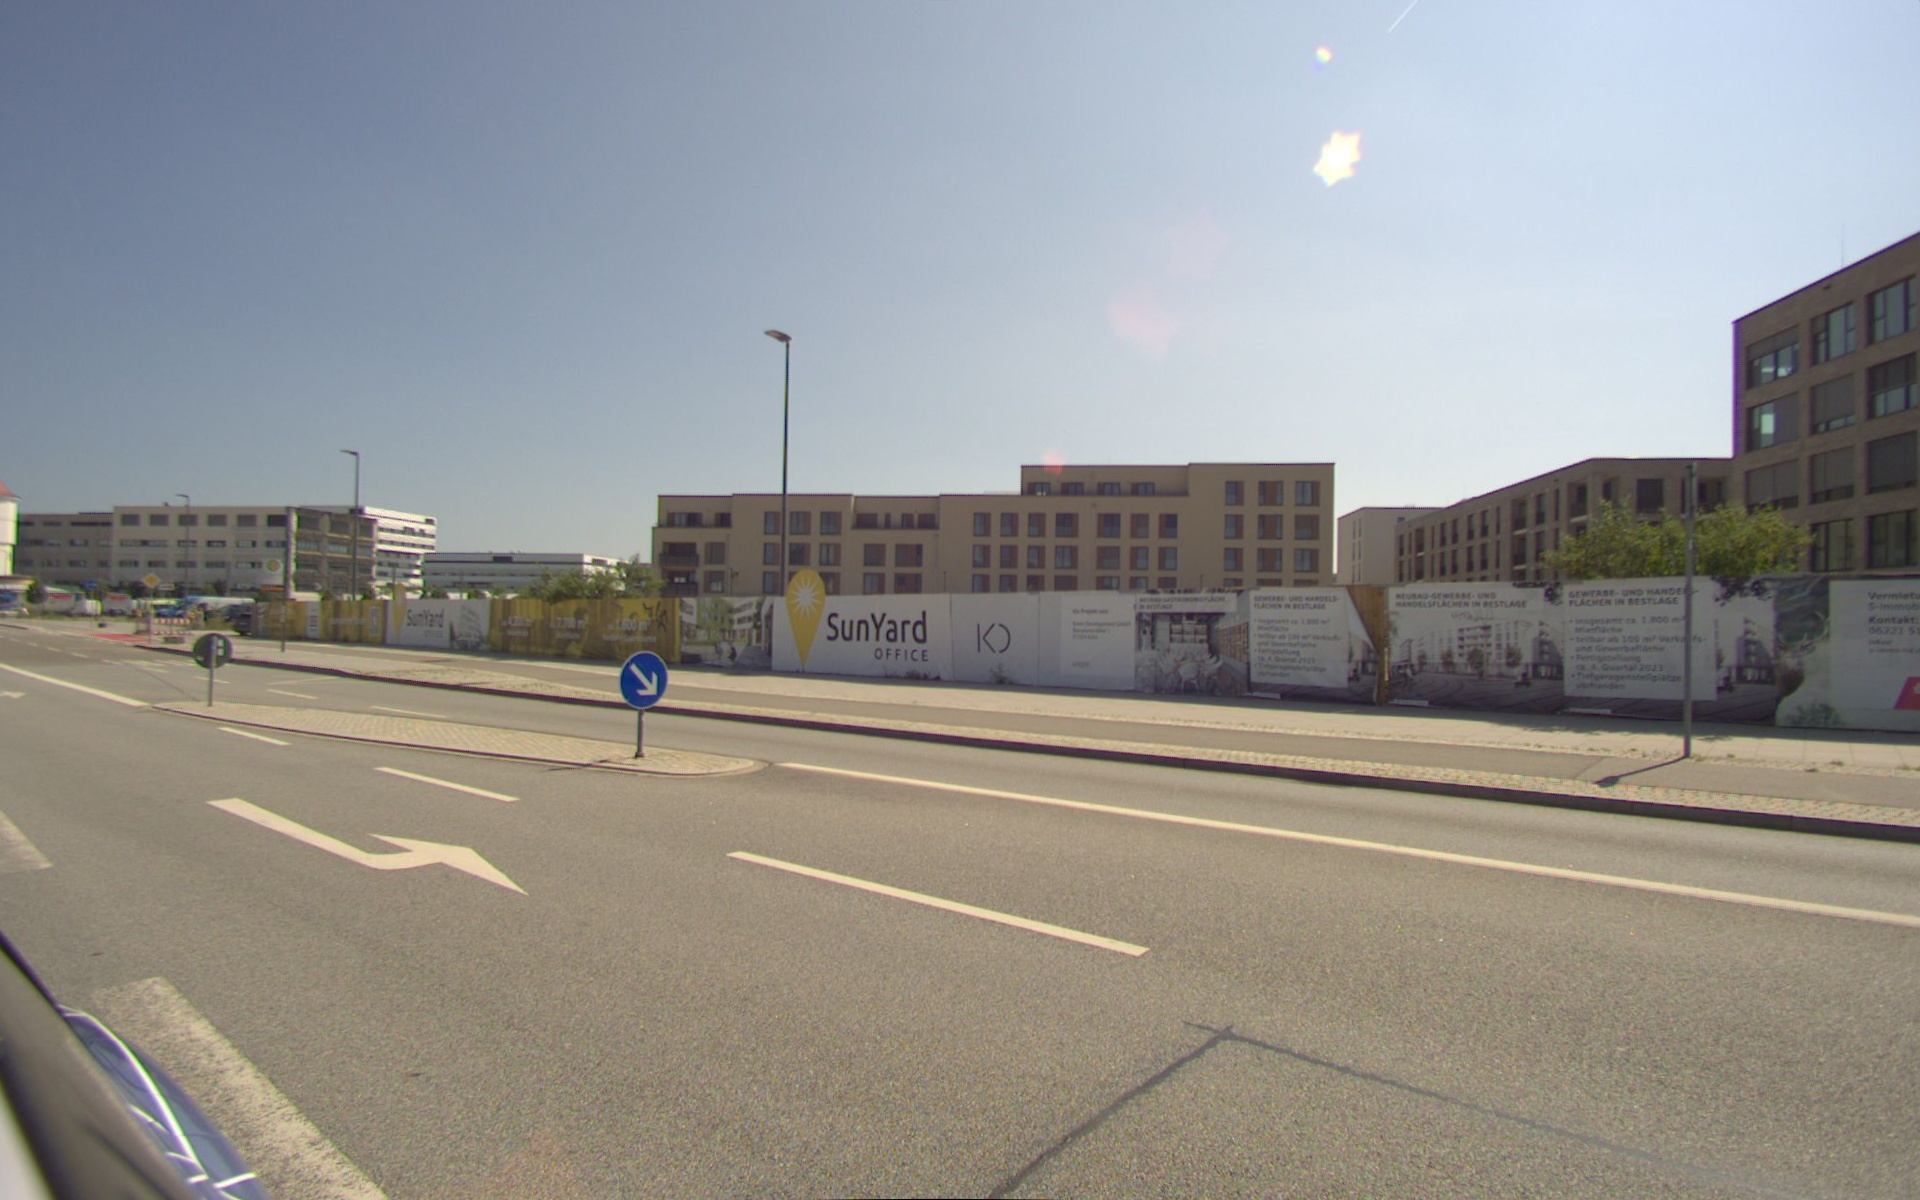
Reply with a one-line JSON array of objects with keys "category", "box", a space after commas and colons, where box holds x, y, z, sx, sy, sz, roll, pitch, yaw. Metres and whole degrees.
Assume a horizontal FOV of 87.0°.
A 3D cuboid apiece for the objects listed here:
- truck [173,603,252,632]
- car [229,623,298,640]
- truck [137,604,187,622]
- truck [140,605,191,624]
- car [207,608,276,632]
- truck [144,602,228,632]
[{"category": "truck", "box": [-61.742, 1.409, 83.671, 1.998, 2.245, 4.941, -1, 0, 40]}, {"category": "car", "box": [-43.149, 1.962, 62.735, 1.293, 0.960, 3.314, -1, 0, 43]}, {"category": "truck", "box": [-114.072, 1.838, 144.717, 1.998, 2.494, 5.345, -1, 0, 39]}, {"category": "truck", "box": [-108.849, 1.970, 138.689, 1.997, 2.494, 5.269, -1, 0, 37]}, {"category": "car", "box": [-54.851, 1.503, 77.296, 1.888, 1.731, 3.884, -1, 0, 36]}, {"category": "truck", "box": [-67.494, 1.439, 88.327, 1.997, 2.494, 5.566, -1, 0, 37]}]
